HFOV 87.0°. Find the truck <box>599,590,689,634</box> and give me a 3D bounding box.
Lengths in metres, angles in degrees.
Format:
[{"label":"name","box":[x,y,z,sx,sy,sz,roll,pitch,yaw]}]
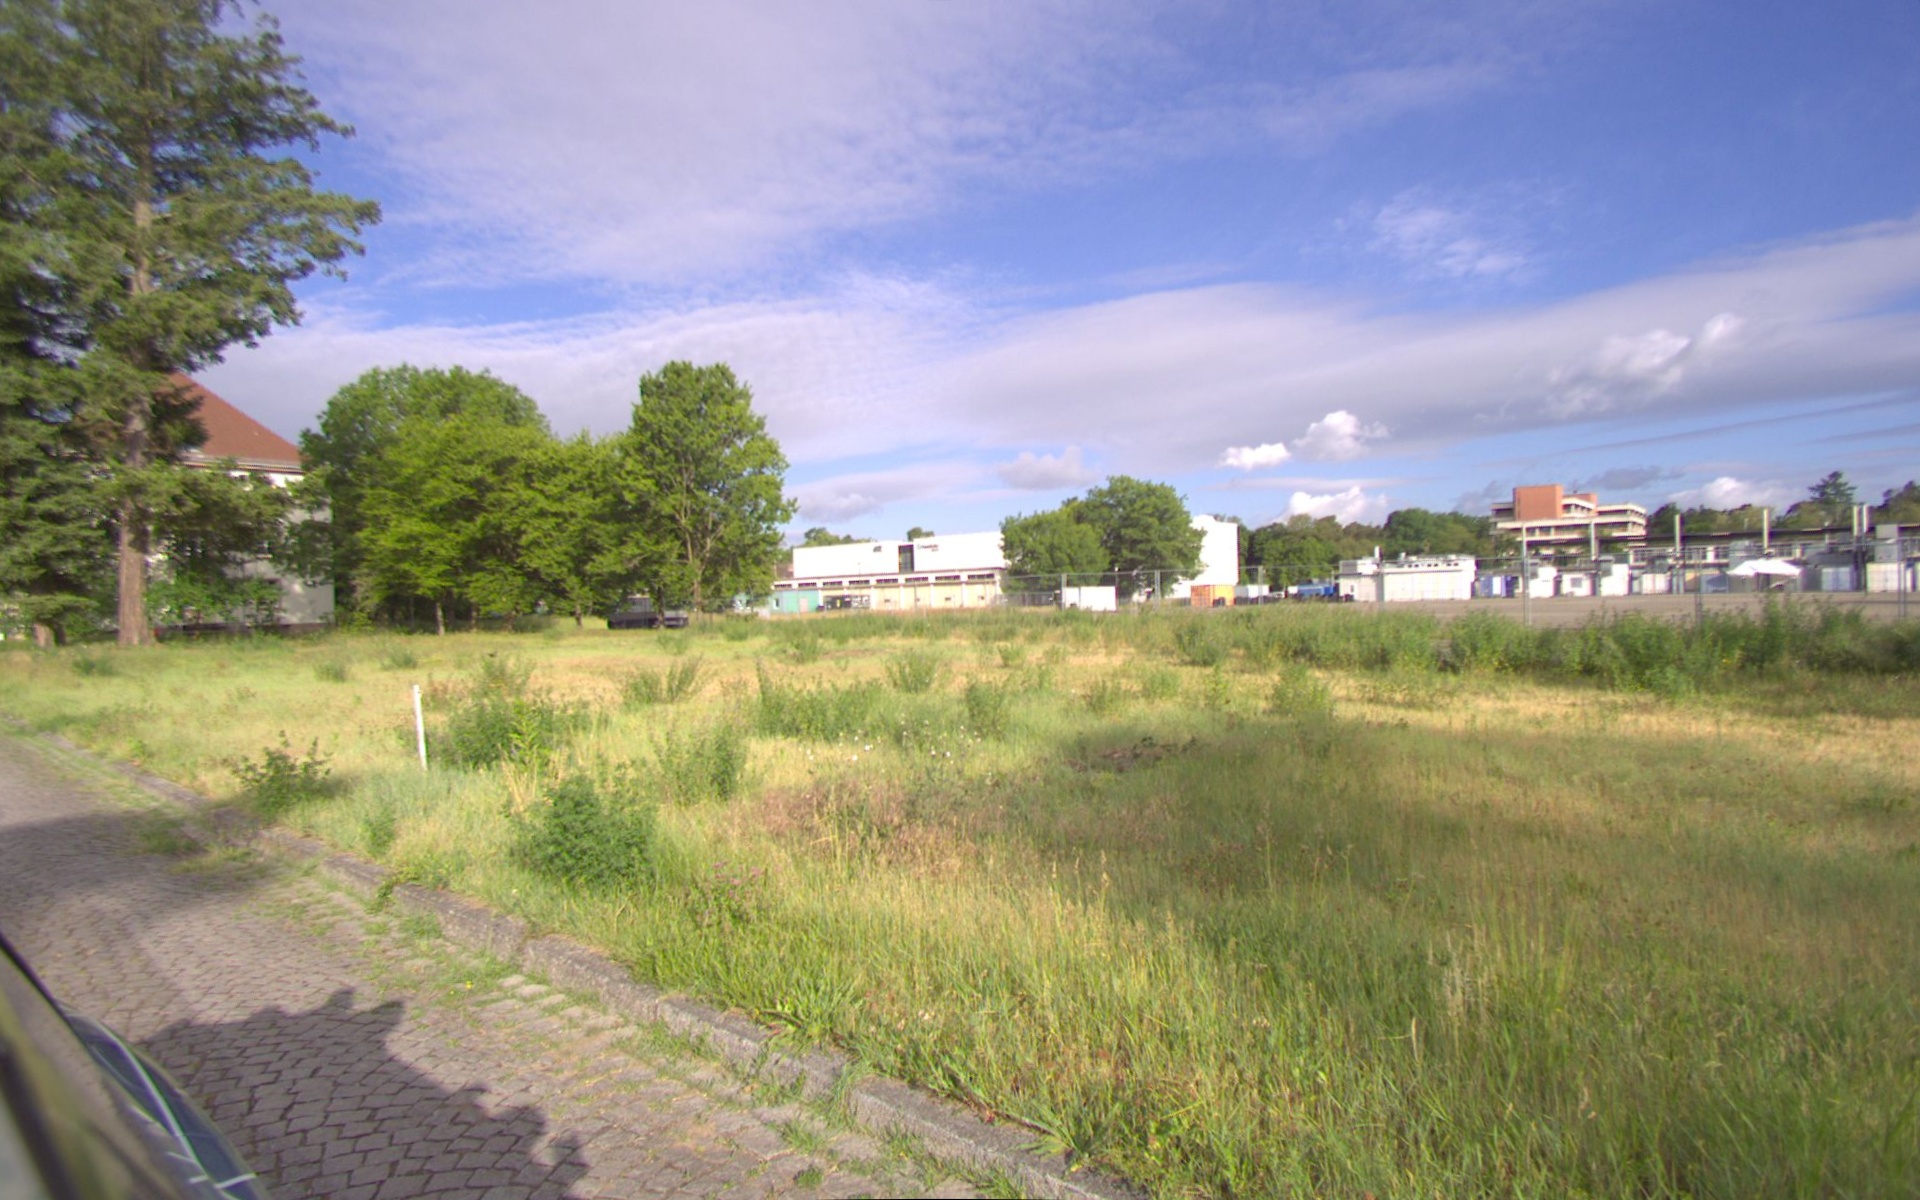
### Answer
[{"label":"truck","box":[-20.336,0.796,64.880,6.959,2.606,2.385,-2,0,43]}]
